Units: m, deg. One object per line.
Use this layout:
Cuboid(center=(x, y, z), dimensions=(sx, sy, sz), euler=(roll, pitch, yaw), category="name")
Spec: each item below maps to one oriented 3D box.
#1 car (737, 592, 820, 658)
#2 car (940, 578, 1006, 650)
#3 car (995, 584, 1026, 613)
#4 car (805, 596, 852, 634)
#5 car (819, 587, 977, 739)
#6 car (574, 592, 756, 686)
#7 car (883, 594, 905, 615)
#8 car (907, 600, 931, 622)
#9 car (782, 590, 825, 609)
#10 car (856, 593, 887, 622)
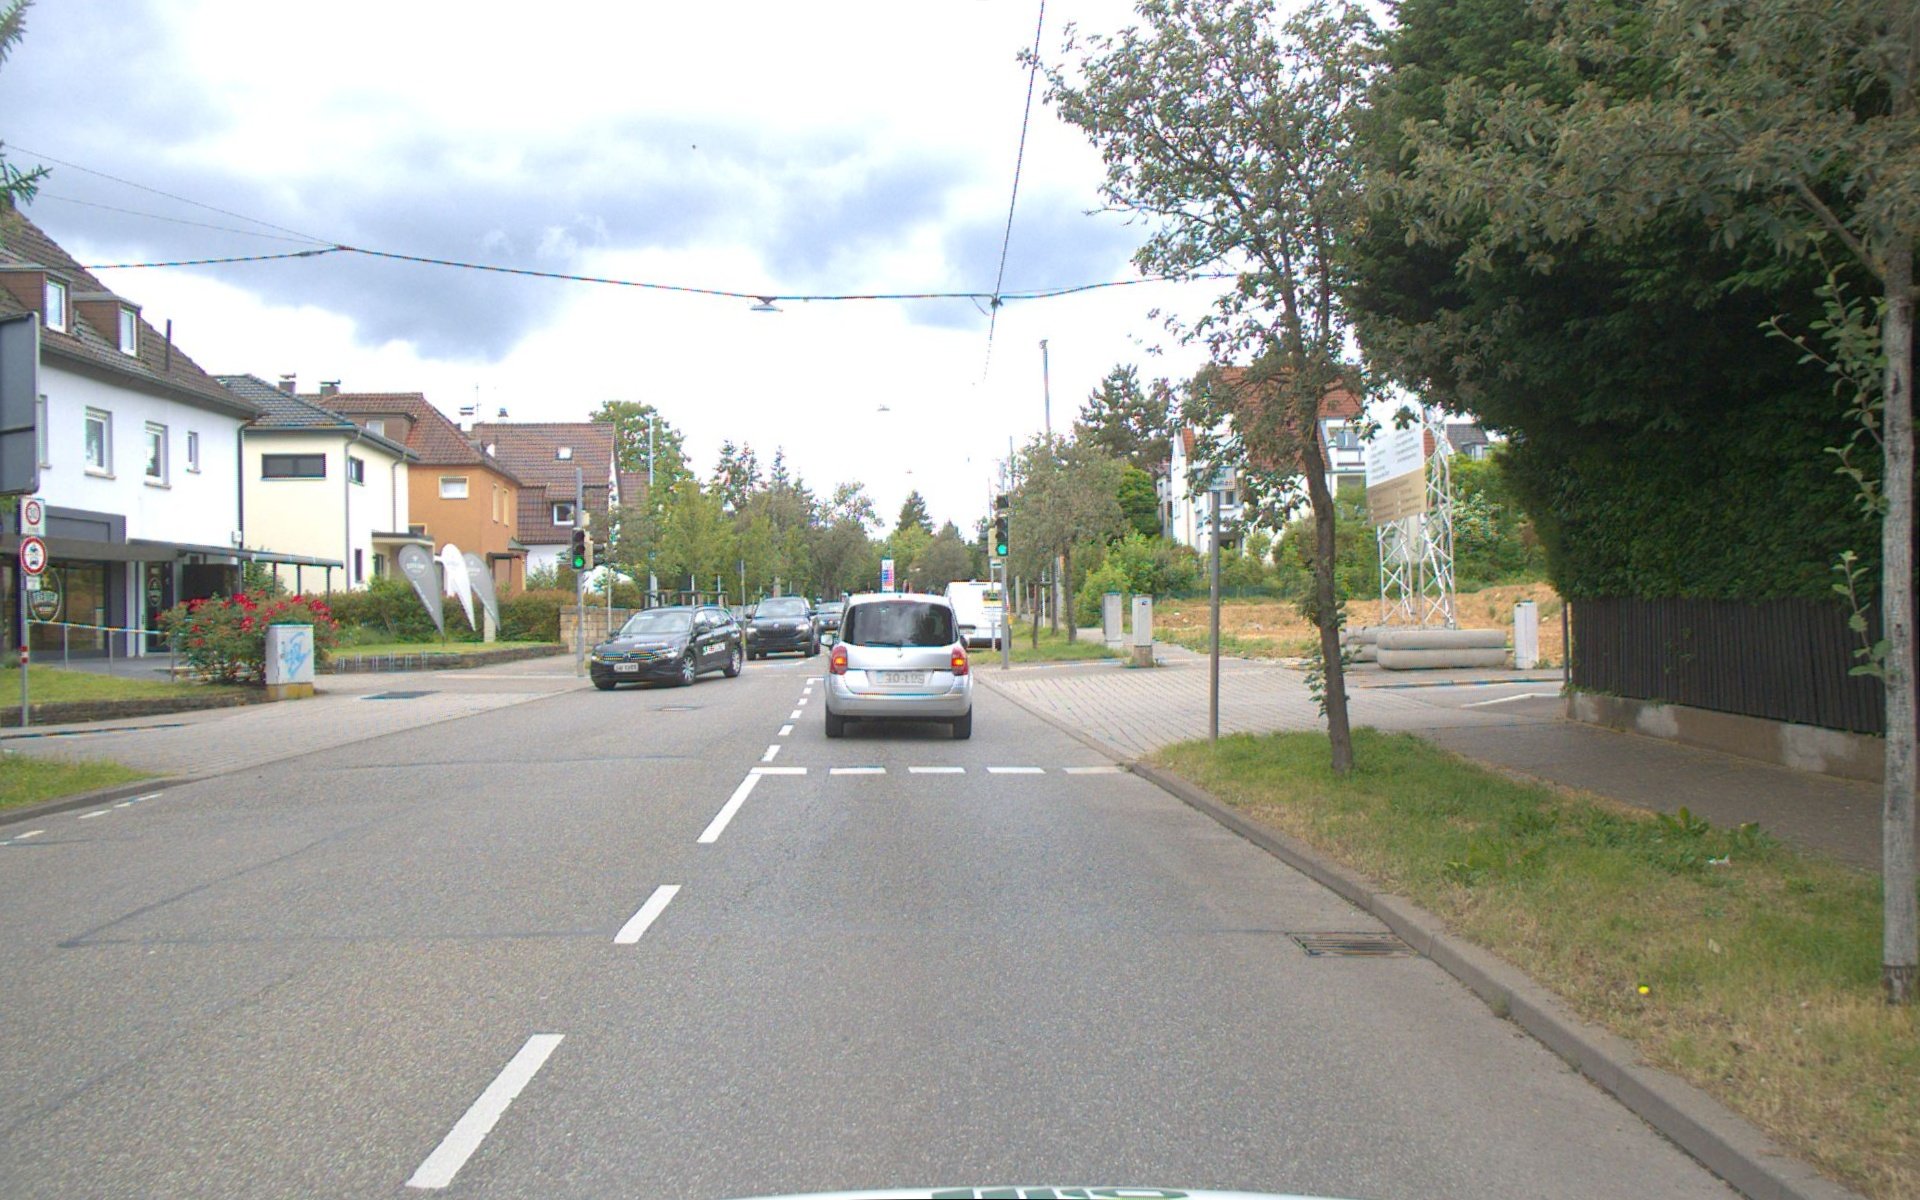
Cuboid(center=(-4.917, 0.648, 45.237), dimensions=(1.857, 1.652, 3.999), euler=(-2, 0, -1), category="car")
Cuboid(center=(0.339, 0.392, 47.842), dimensions=(1.739, 1.977, 4.787), euler=(0, 0, -2), category="car")
Cuboid(center=(3.322, -0.090, 110.269), dimensions=(1.793, 1.741, 4.548), euler=(-3, 0, -1), category="car")
Cuboid(center=(-5.431, 0.605, 68.669), dimensions=(1.583, 1.497, 4.000), euler=(-2, 0, 1), category="car")
Cuboid(center=(-0.677, 0.680, 19.299), dimensions=(1.645, 1.587, 3.511), euler=(1, 0, -1), category="car")
Cuboid(center=(-5.578, 0.694, 31.889), dimensions=(1.951, 1.649, 4.652), euler=(-1, 0, 10), category="car")
Cuboid(center=(-5.864, 0.356, 148.251), dimensions=(1.759, 1.782, 4.298), euler=(-2, 0, 0), category="car")
Cuboid(center=(-3.589, 0.954, 143.308), dimensions=(1.799, 1.743, 3.996), euler=(-2, 0, -5), category="car")
Cuboid(center=(-15.283, -0.055, 161.840), dimensions=(4.003, 1.735, 1.747), euler=(-2, 0, -1), category="car")
Cuboid(center=(-5.676, 0.477, 106.871), dimensions=(1.777, 1.722, 4.464), euler=(-3, 0, -1), category="car")
